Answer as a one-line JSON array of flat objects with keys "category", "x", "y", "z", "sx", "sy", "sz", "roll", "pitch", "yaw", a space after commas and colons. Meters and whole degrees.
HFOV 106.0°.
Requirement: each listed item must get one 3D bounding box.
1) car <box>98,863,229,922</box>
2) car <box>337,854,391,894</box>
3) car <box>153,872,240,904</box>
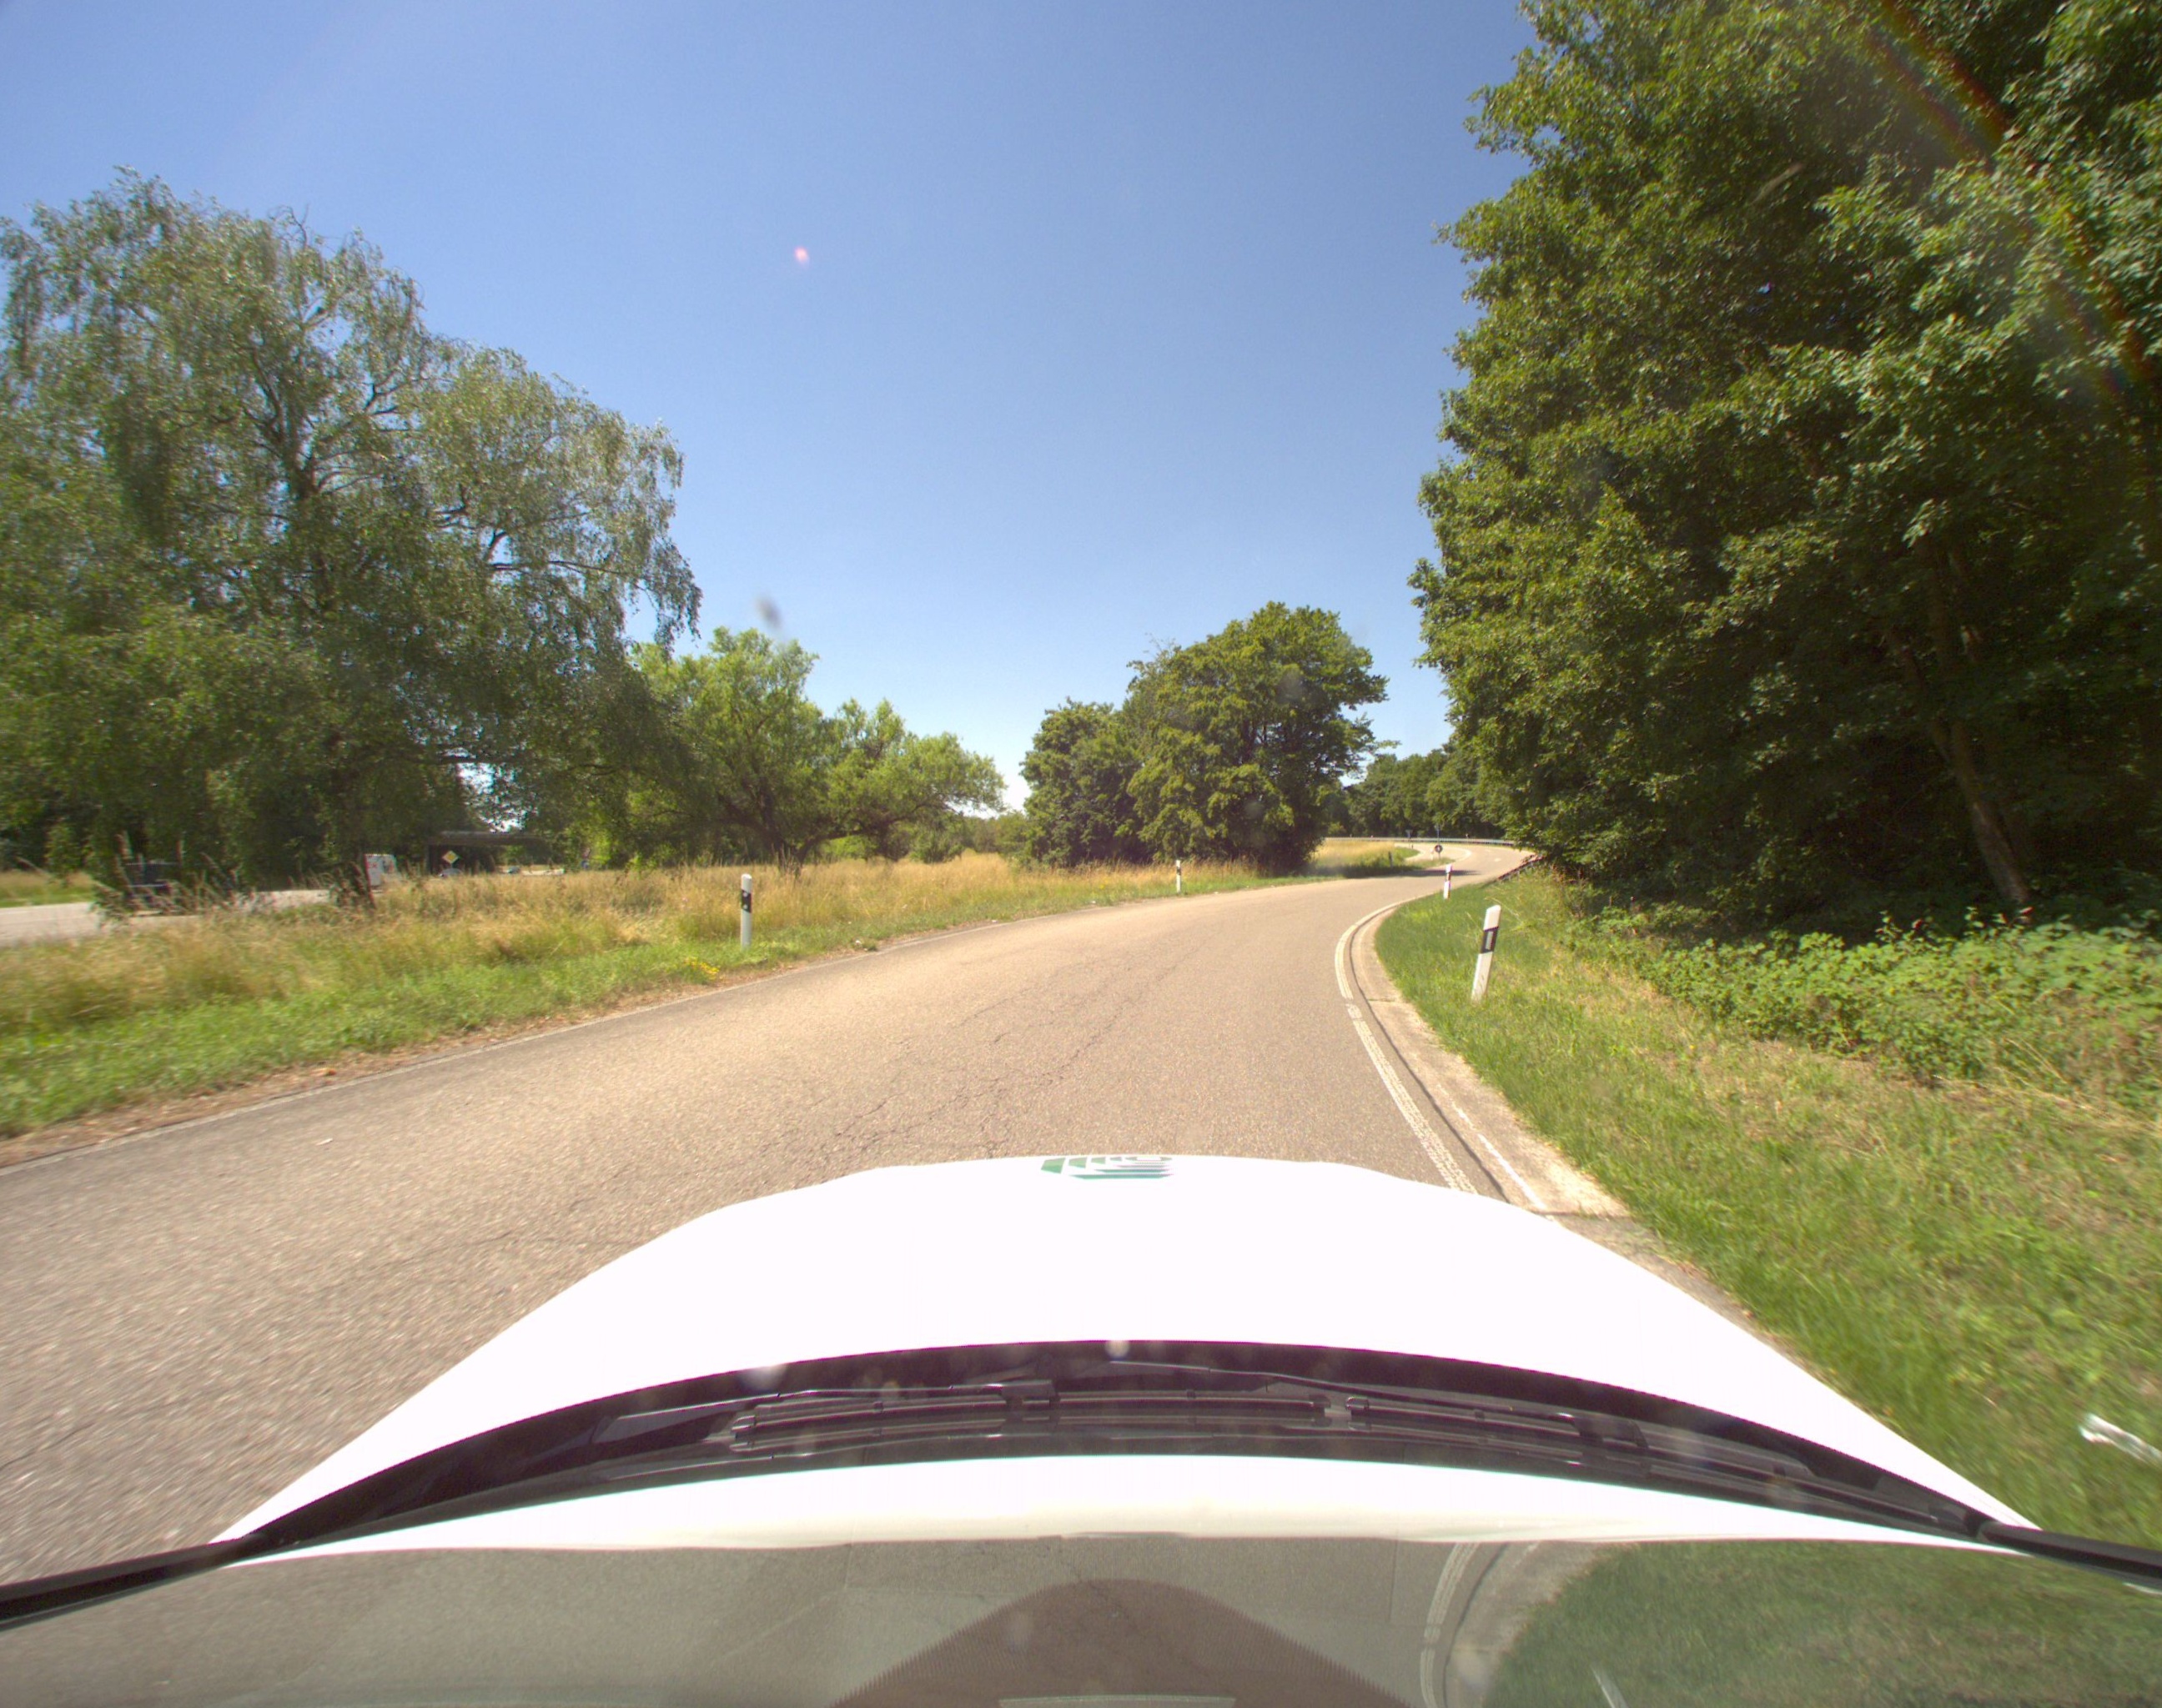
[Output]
[{"category": "car", "x": -33.006, "y": 1.298, "z": 29.454, "sx": 2.007, "sy": 1.948, "sz": 4.049, "roll": 0, "pitch": -1, "yaw": -31}, {"category": "car", "x": -47.375, "y": 1.277, "z": 53.877, "sx": 2.132, "sy": 2.501, "sz": 4.047, "roll": 0, "pitch": -1, "yaw": -33}, {"category": "car", "x": -47.955, "y": 1.804, "z": 44.272, "sx": 2.131, "sy": 1.635, "sz": 4.049, "roll": 0, "pitch": -1, "yaw": -31}]
